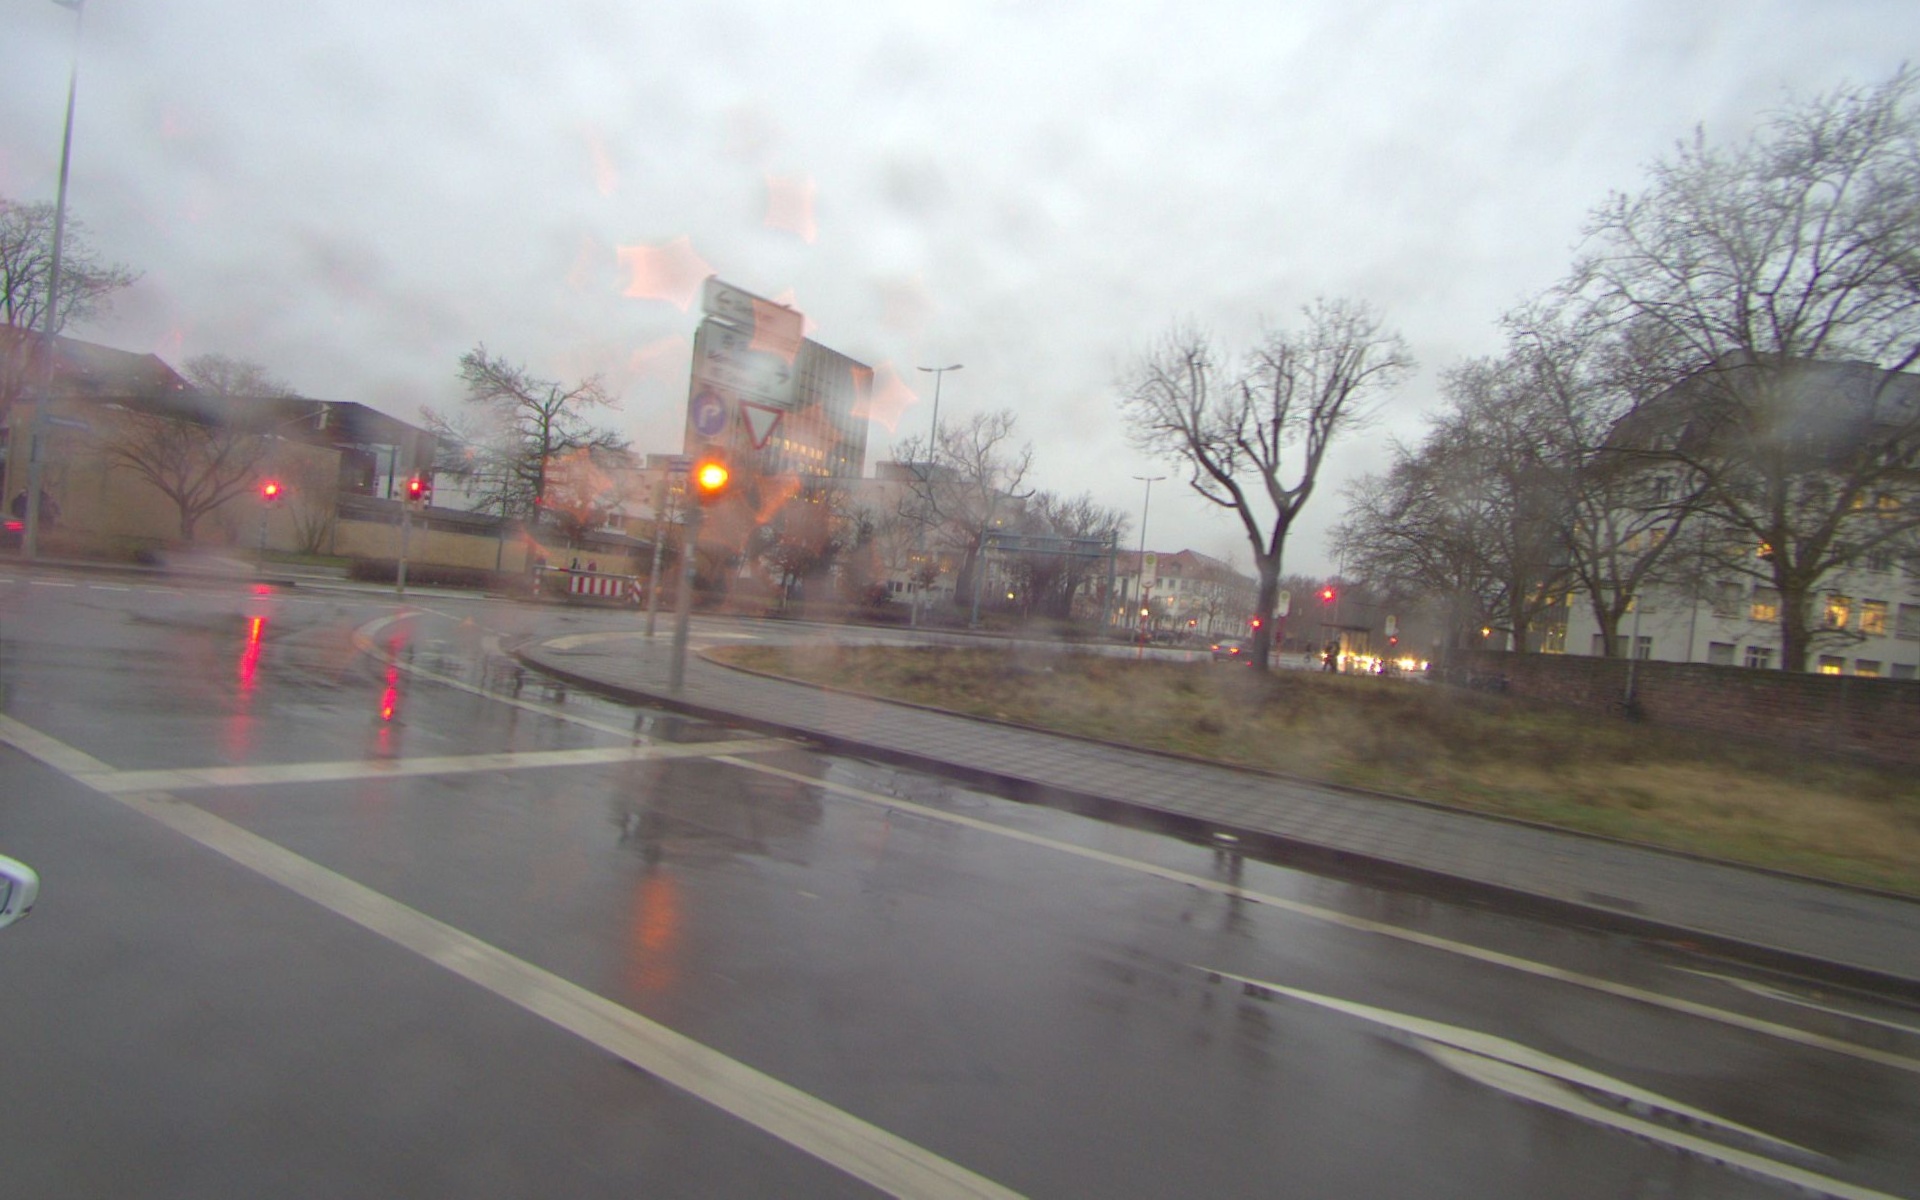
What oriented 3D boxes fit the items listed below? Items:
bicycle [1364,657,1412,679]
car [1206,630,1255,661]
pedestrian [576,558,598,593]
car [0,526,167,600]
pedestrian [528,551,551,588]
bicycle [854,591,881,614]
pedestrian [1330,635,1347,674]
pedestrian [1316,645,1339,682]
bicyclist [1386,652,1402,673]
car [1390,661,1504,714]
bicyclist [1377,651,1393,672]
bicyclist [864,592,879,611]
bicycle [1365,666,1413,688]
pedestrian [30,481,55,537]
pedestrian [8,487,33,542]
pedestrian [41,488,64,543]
[{"bbox_3d":[24.246,3.834,56.955,2.373,1.003,0.537,5,-2,31],"label":"bicycle"},{"bbox_3d":[17.973,3.021,66.711,1.861,1.670,3.636,5,-3,35],"label":"car"},{"bbox_3d":[-19.301,-1.271,52.015,0.749,1.745,0.623,5,-2,38],"label":"pedestrian"},{"bbox_3d":[-25.518,-1.085,28.576,1.943,1.598,4.424,4,-3,44],"label":"car"},{"bbox_3d":[-21.243,-1.551,50.827,0.749,1.745,0.623,5,-2,38],"label":"pedestrian"},{"bbox_3d":[-6.486,0.171,70.569,0.584,1.439,1.922,5,-2,40],"label":"bicycle"},{"bbox_3d":[19.069,2.753,50.714,0.633,1.857,0.836,5,-1,23],"label":"pedestrian"},{"bbox_3d":[19.371,3.341,53.025,0.823,1.857,0.667,5,-2,34],"label":"pedestrian"},{"bbox_3d":[24.528,3.541,56.818,0.690,1.092,0.494,5,-2,32],"label":"bicyclist"},{"bbox_3d":[12.082,2.176,24.929,2.656,0.989,1.290,7,1,-34],"label":"car"},{"bbox_3d":[23.905,3.469,56.551,0.690,1.092,0.494,5,-2,32],"label":"bicyclist"},{"bbox_3d":[-6.231,0.106,70.816,0.599,1.261,0.698,5,-2,40],"label":"bicyclist"},{"bbox_3d":[24.037,4.323,56.422,2.373,1.003,0.479,5,-2,31],"label":"bicycle"},{"bbox_3d":[-31.707,-3.138,34.773,0.456,1.860,0.434,7,-2,-41],"label":"pedestrian"},{"bbox_3d":[-32.734,-2.975,35.055,0.436,1.860,0.454,7,-2,-41],"label":"pedestrian"},{"bbox_3d":[-32.179,-2.991,35.687,0.435,1.860,0.455,7,-1,-40],"label":"pedestrian"}]
